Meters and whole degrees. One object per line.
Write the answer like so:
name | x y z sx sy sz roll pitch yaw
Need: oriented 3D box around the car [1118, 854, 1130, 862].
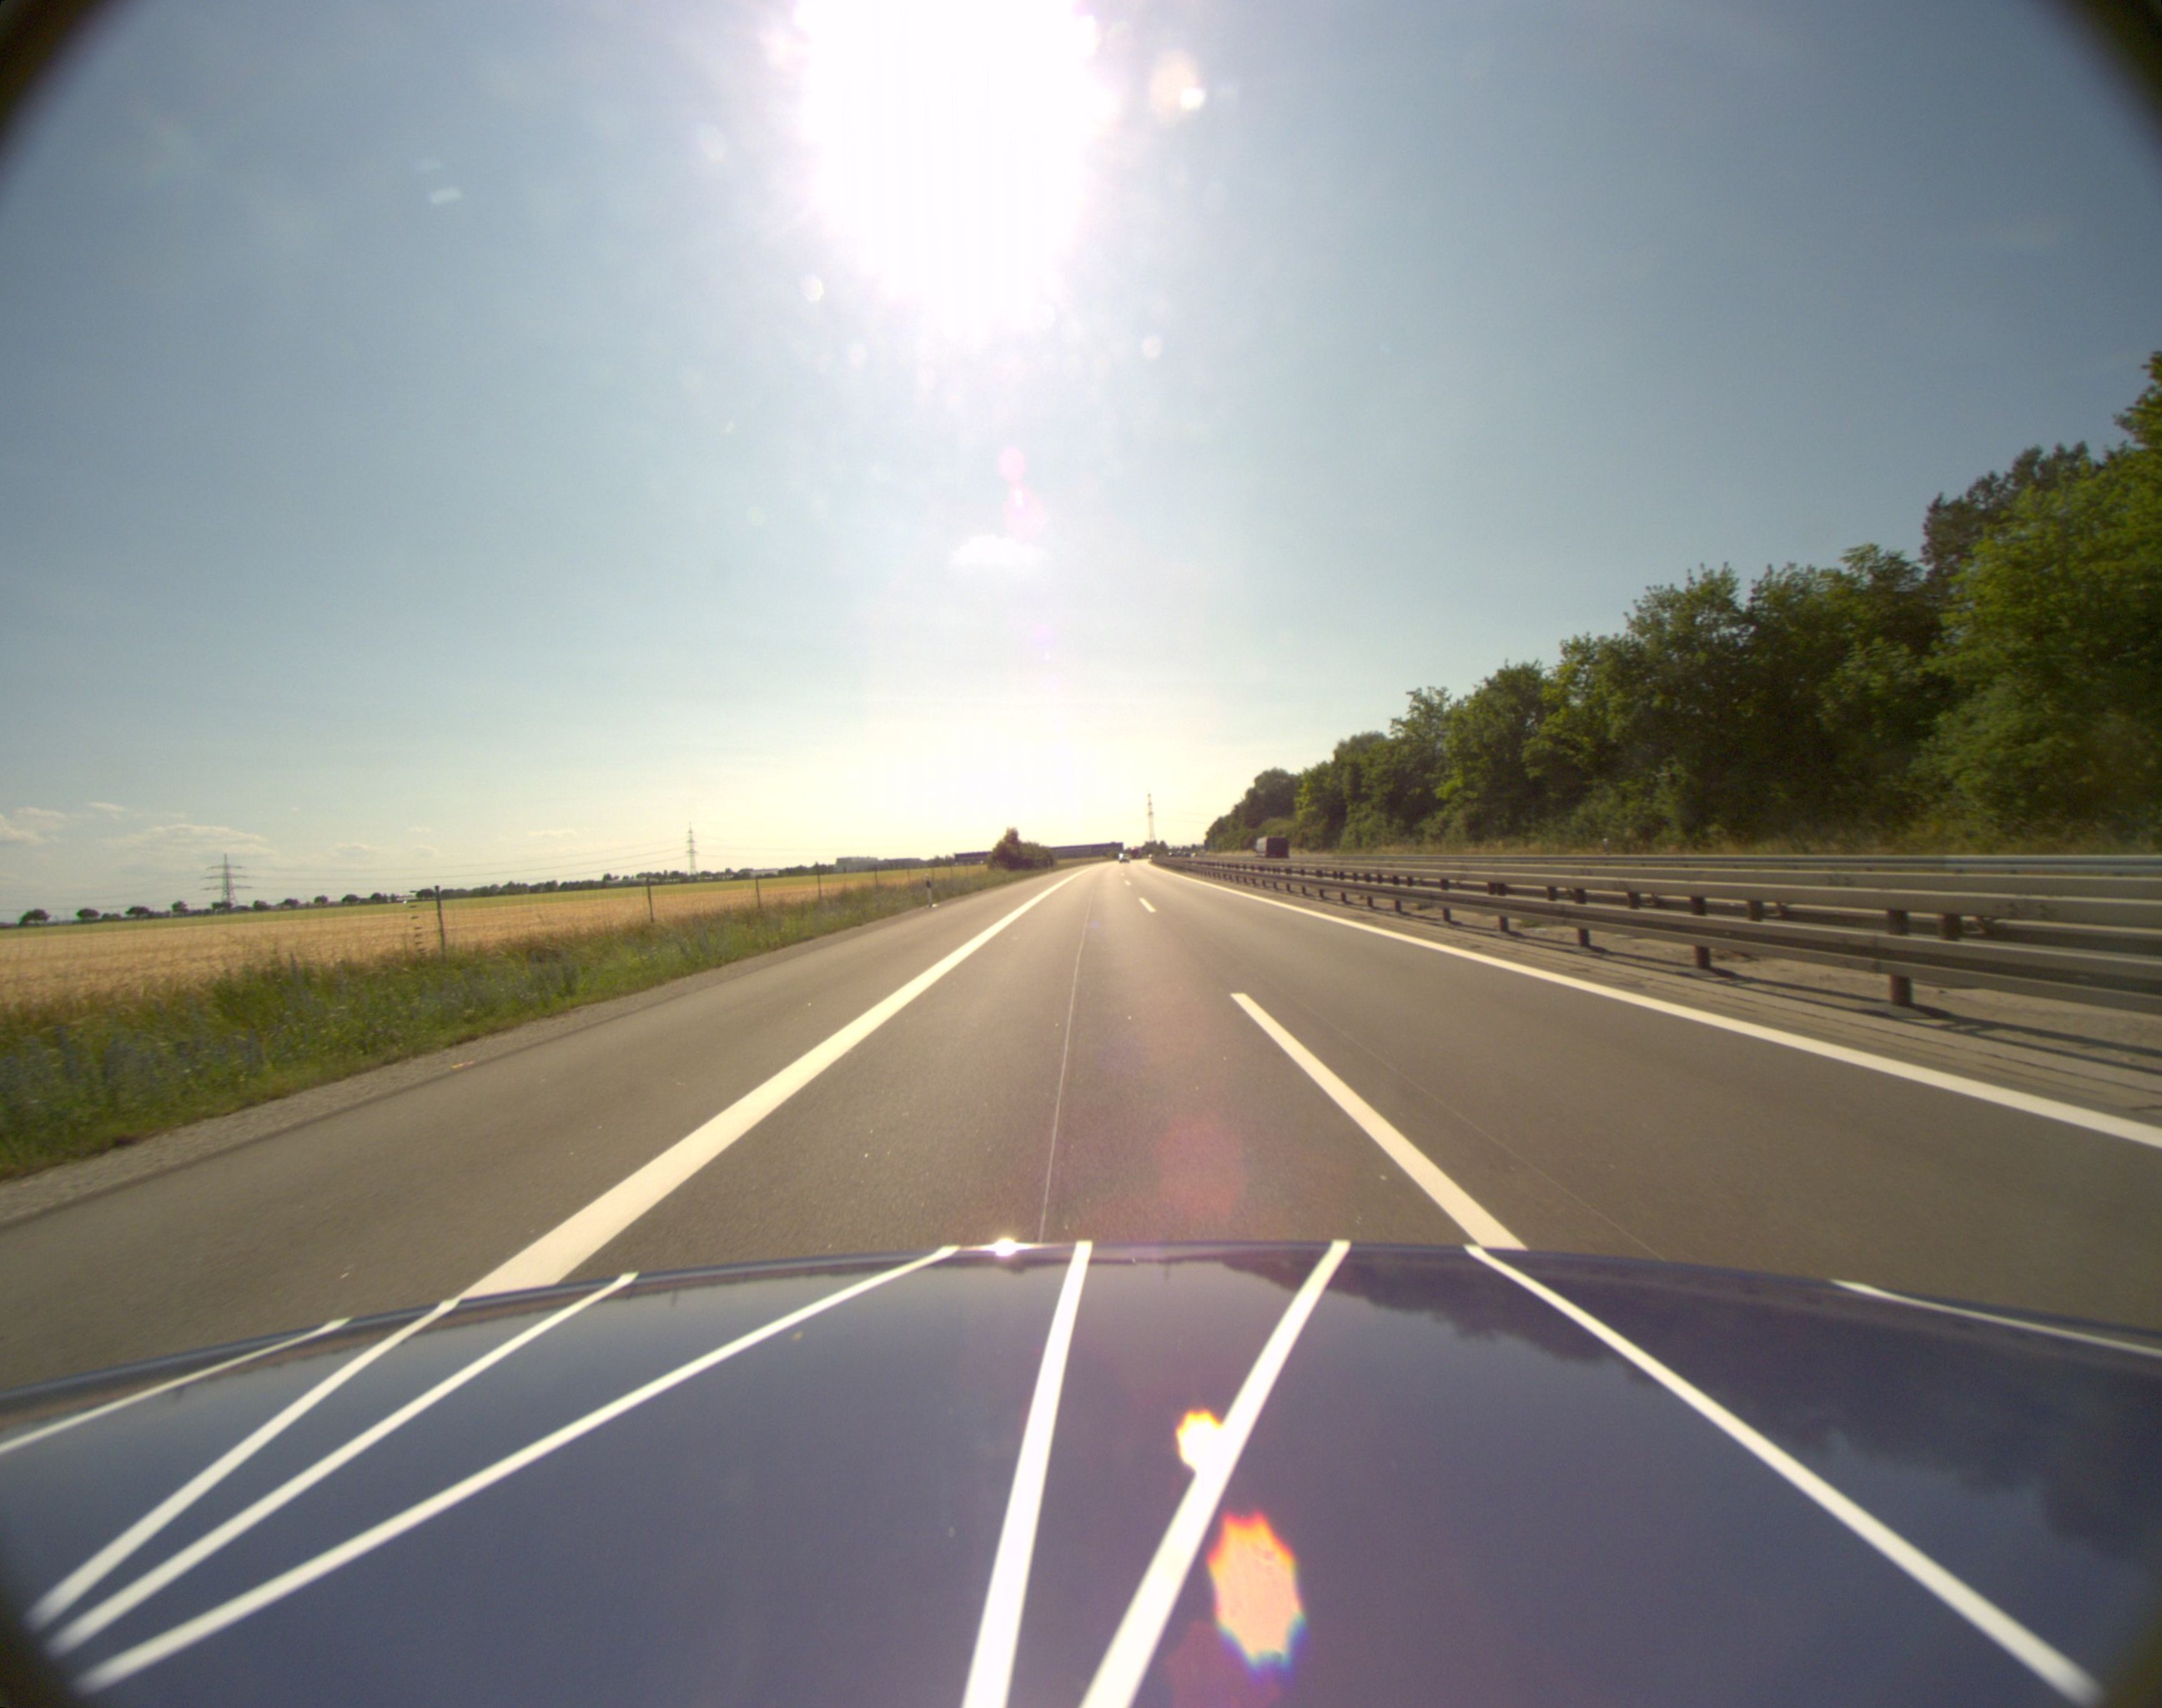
car | 7.820 0.744 138.035 1.860 1.361 4.001 -3 0 5

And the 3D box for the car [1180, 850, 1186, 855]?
car | 29.690 -0.452 220.525 1.581 1.453 4.154 -3 0 6

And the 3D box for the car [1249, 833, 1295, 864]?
car | 17.227 -0.489 68.813 2.550 2.580 6.593 -3 0 2

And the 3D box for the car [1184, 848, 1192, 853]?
car | 26.920 -0.890 191.798 1.666 1.414 4.001 -2 0 3

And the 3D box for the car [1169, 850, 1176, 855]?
car | 29.585 -0.579 245.672 1.666 1.414 4.001 -2 0 3

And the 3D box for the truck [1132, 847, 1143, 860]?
truck | 18.411 -0.089 246.762 2.569 3.938 8.649 -5 -1 9
